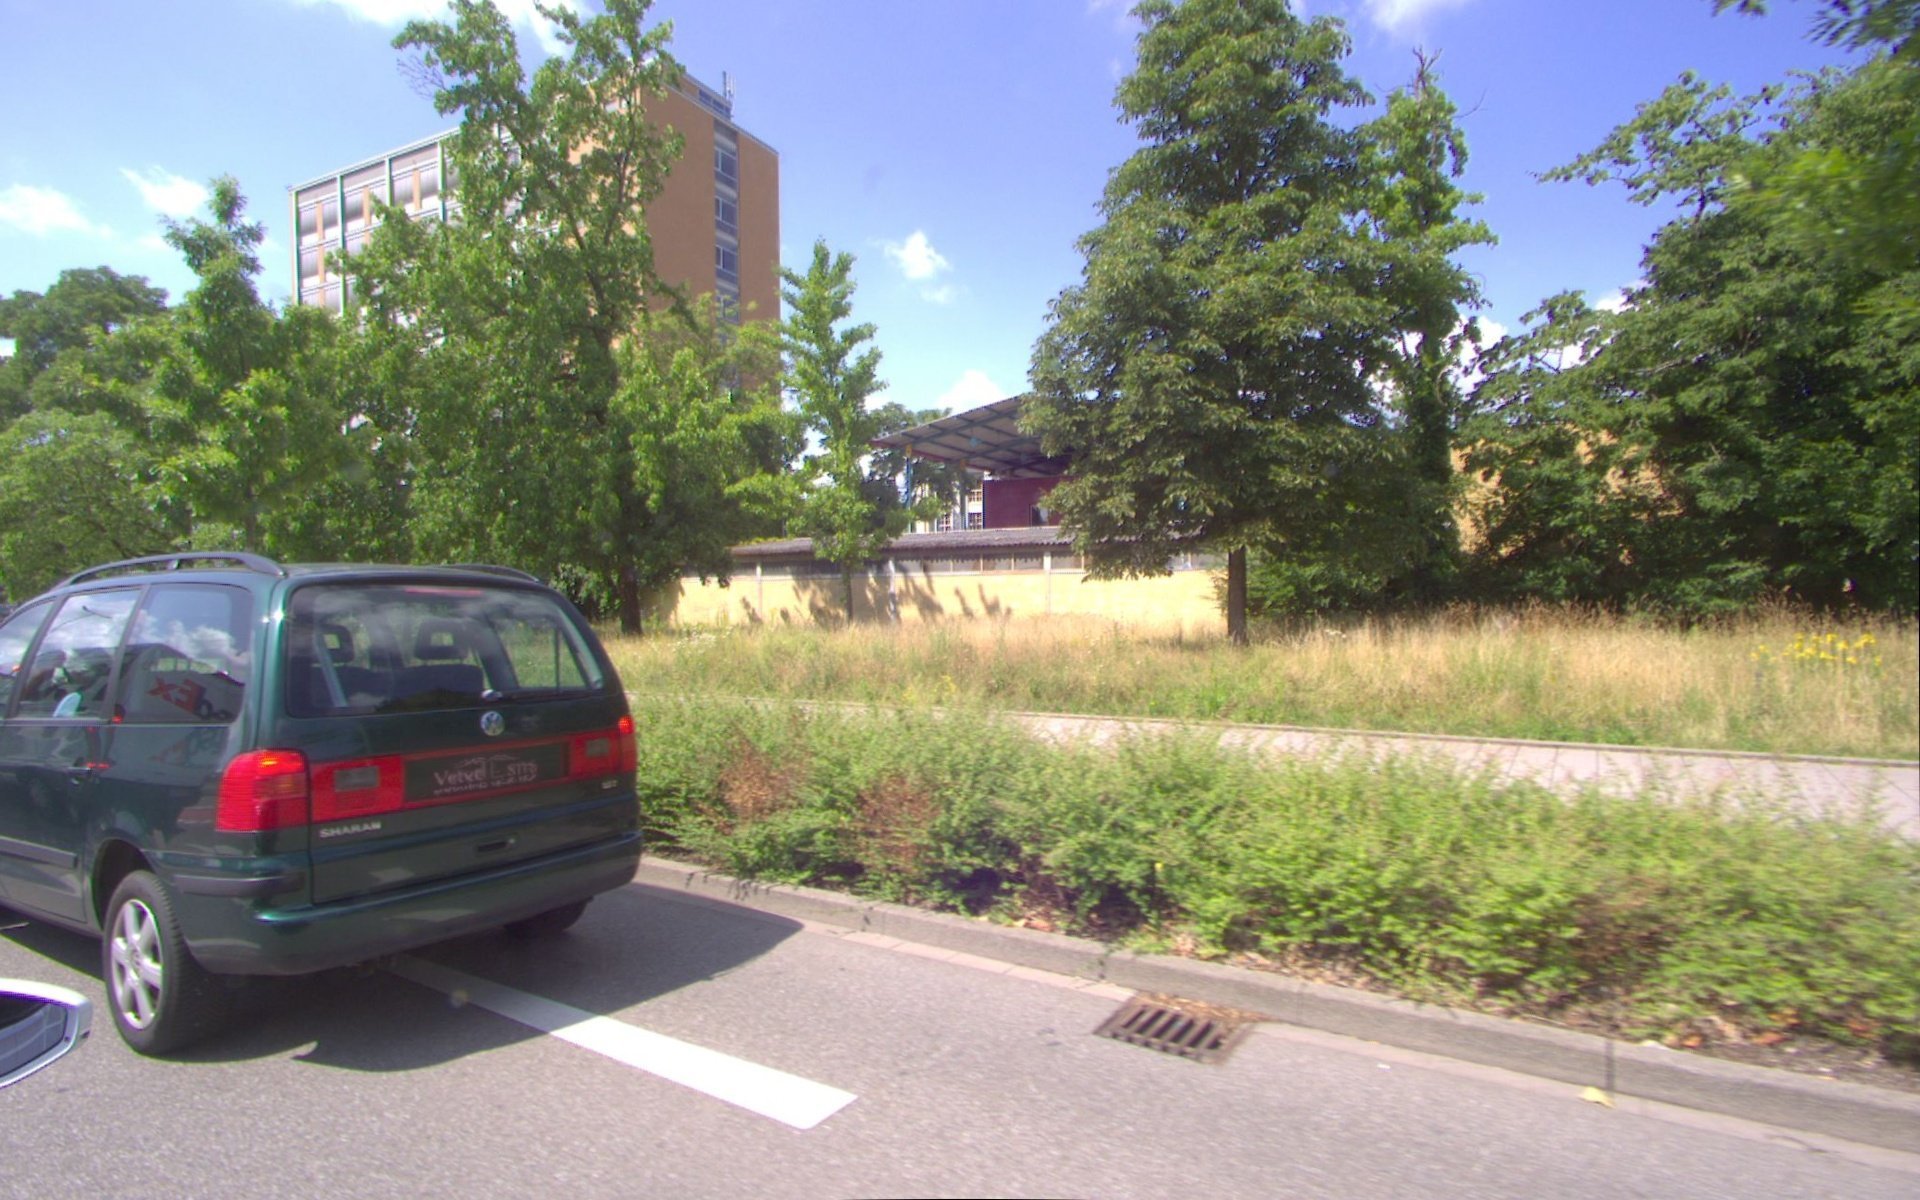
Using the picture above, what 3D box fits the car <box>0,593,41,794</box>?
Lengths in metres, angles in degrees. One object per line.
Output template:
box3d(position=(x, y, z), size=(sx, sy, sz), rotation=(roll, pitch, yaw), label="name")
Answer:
box3d(position=(-10.132, 0.799, 9.097), size=(3.945, 1.710, 1.793), rotation=(0, 0, 34), label="car")

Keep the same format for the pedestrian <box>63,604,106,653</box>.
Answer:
box3d(position=(-28.467, 0.915, 32.559), size=(0.823, 1.559, 0.843), rotation=(0, 0, 32), label="pedestrian")

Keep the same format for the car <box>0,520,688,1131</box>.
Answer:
box3d(position=(-3.502, 0.676, 4.813), size=(4.325, 1.757, 1.809), rotation=(0, -1, 32), label="car")

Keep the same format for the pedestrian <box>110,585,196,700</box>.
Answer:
box3d(position=(-13.924, 0.715, 17.291), size=(0.762, 1.917, 0.948), rotation=(0, 0, 32), label="pedestrian")

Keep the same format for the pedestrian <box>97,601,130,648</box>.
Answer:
box3d(position=(-37.579, 1.081, 44.455), size=(0.726, 2.040, 0.847), rotation=(0, 0, -2), label="pedestrian")

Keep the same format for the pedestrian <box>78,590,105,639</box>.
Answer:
box3d(position=(-37.592, 0.623, 43.359), size=(0.837, 2.085, 0.735), rotation=(0, 1, 38), label="pedestrian")
